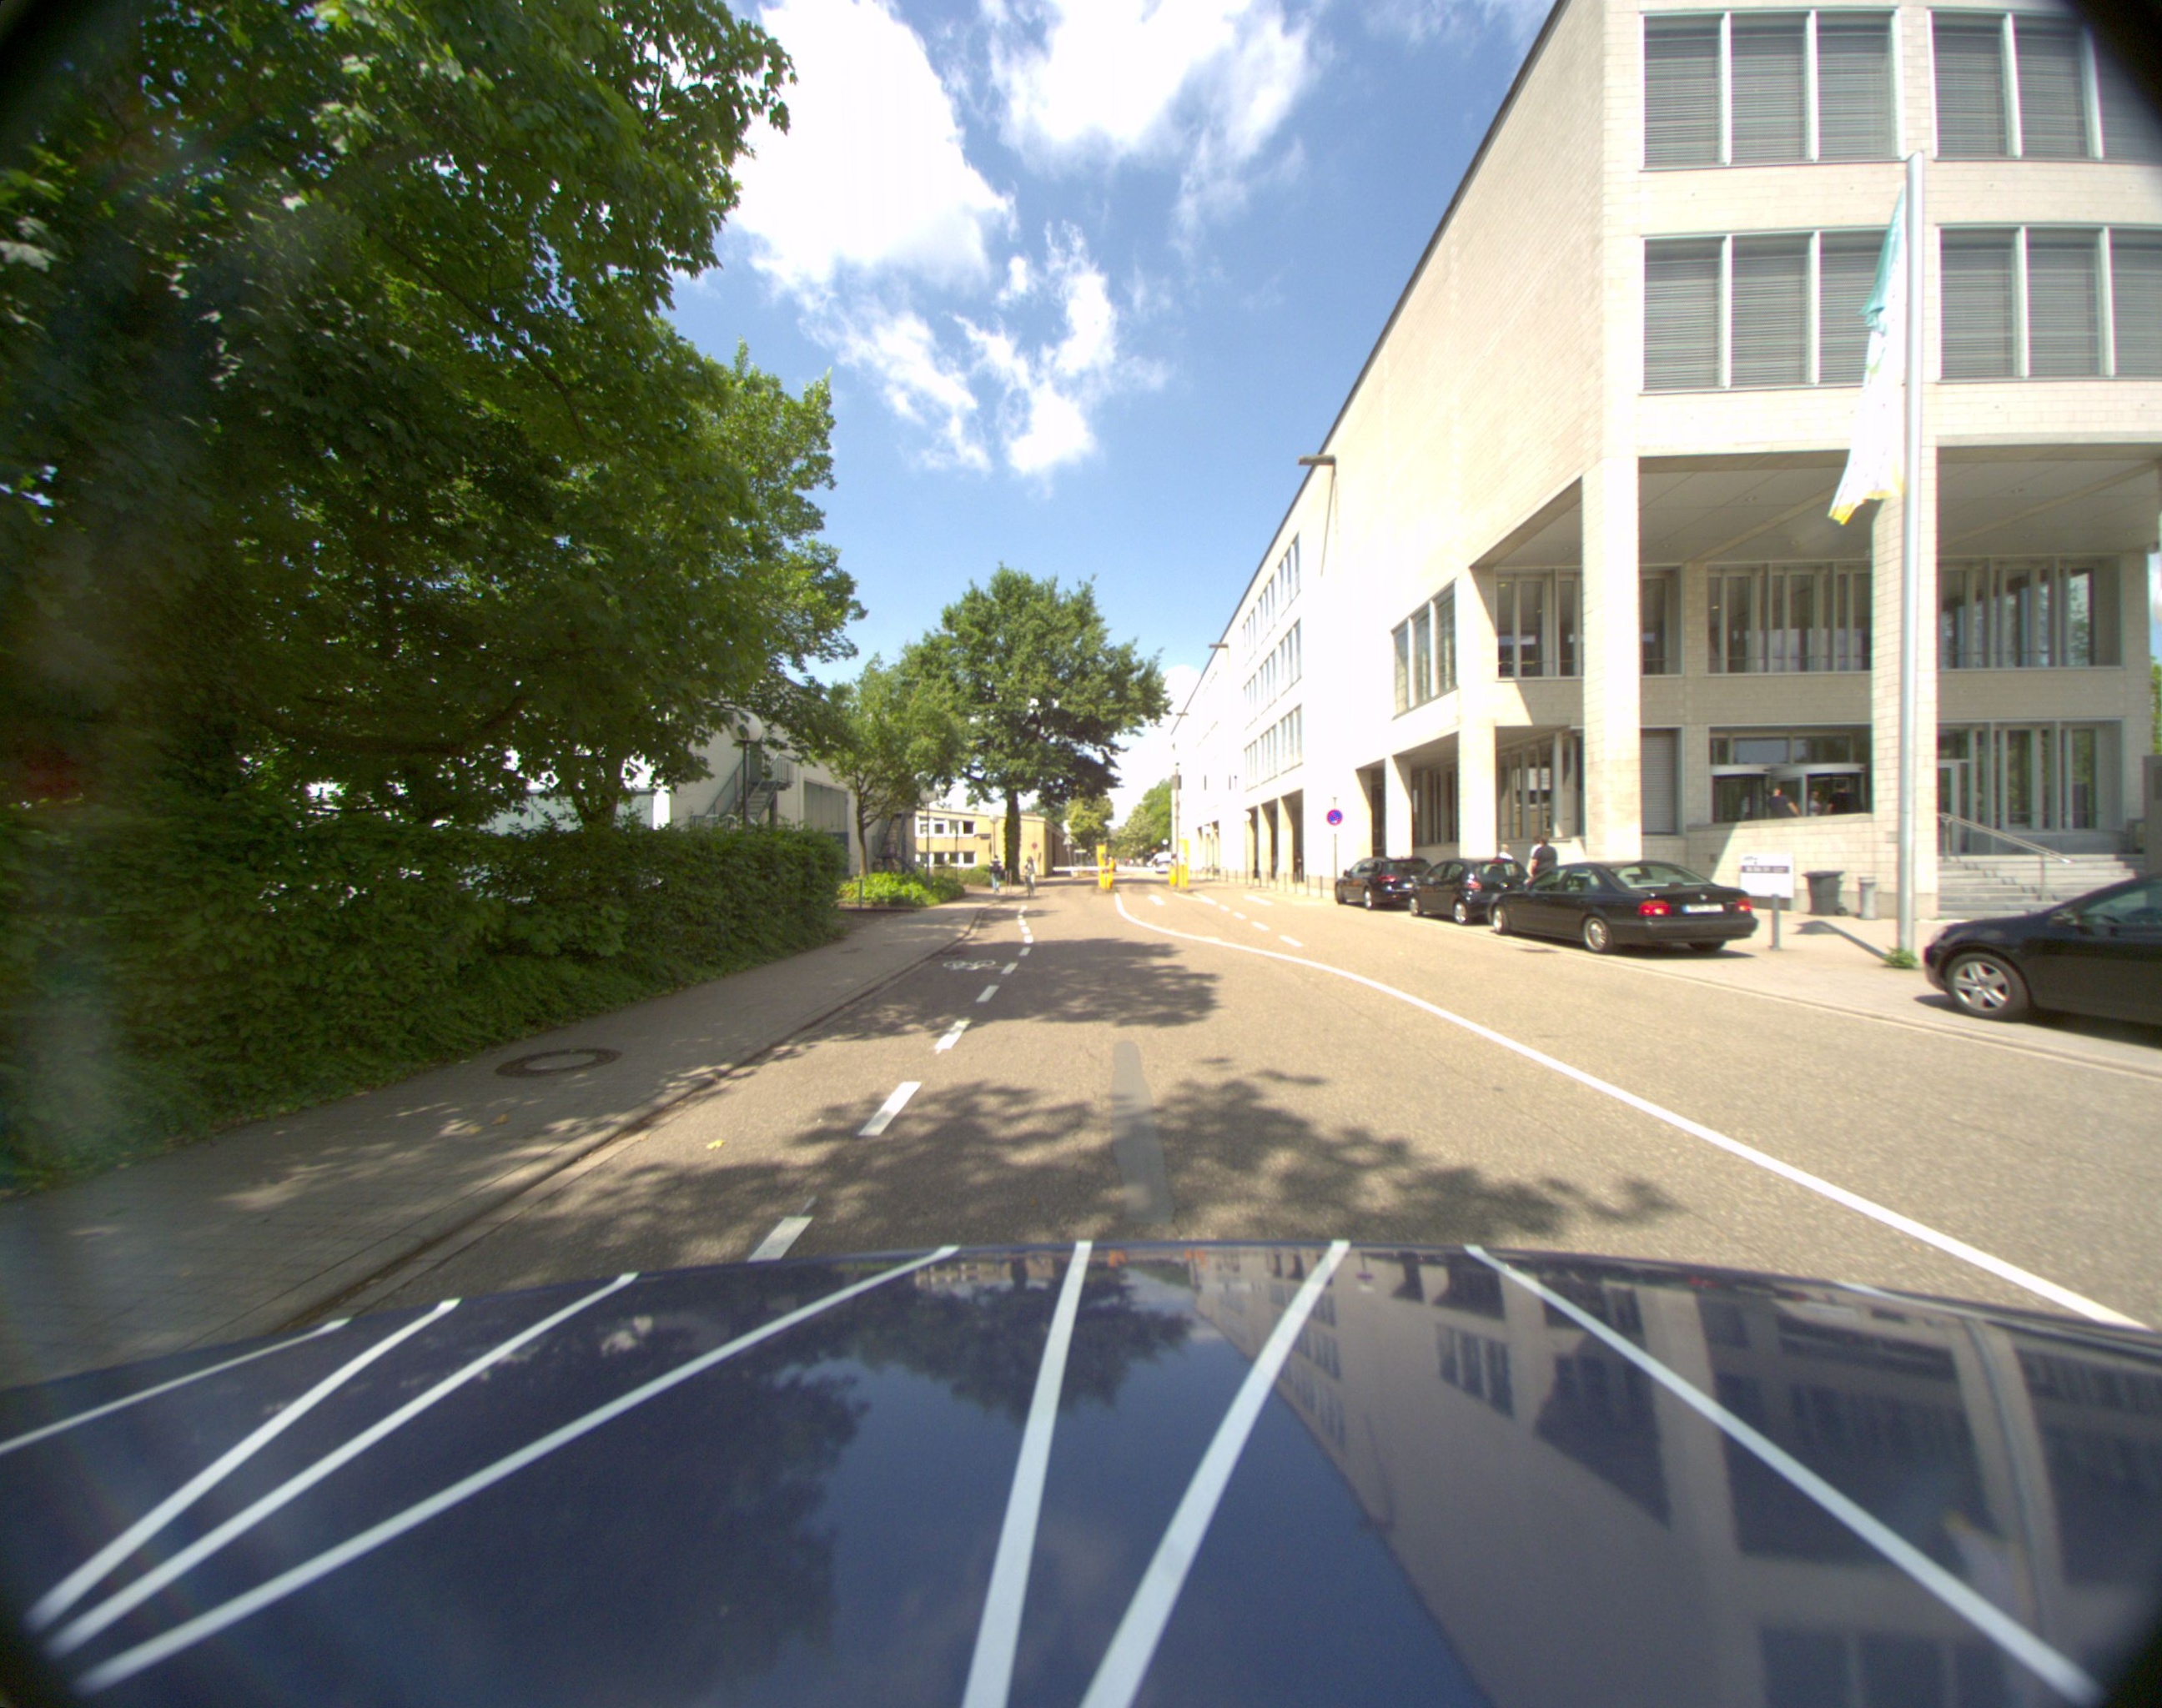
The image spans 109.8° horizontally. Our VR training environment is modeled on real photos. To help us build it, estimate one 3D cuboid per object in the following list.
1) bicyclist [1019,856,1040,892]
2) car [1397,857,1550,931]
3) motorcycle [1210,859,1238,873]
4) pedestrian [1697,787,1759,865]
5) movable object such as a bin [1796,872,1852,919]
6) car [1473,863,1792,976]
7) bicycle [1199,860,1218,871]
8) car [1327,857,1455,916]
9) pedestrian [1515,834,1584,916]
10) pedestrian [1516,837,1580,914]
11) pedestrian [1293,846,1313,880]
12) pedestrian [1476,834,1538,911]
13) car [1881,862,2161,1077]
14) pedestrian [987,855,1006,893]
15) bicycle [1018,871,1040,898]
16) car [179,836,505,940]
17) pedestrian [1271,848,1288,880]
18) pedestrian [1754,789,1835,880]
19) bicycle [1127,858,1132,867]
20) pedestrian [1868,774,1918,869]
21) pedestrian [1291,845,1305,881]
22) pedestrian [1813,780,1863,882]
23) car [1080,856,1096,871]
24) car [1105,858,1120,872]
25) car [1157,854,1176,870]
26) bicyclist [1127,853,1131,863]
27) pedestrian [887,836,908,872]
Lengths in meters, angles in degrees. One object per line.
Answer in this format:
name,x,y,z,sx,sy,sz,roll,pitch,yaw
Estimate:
bicyclist,-2.111,0.816,31.182,0.781,1.478,0.696,0,0,0
car,8.899,0.844,17.588,1.642,1.458,3.707,-3,0,2
motorcycle,12.069,1.023,64.316,2.172,1.131,0.774,0,0,-8
pedestrian,17.048,-0.726,20.044,0.746,2.002,0.979,-1,1,-19
movable object such as a bin,15.318,0.856,15.679,0.577,0.925,0.595,-1,1,2
car,8.632,0.908,12.632,1.863,1.370,5.017,-3,0,3
bicycle,12.321,1.094,73.480,1.643,1.080,0.608,-1,0,-4
car,8.820,0.860,22.085,1.864,1.458,4.719,-3,0,2
pedestrian,11.809,0.515,19.189,0.987,2.002,1.164,-1,0,-2
pedestrian,12.592,0.575,20.528,0.987,2.002,1.164,-1,0,-2
pedestrian,12.986,0.527,44.509,0.850,2.002,1.066,0,0,0
pedestrian,11.459,0.476,20.464,0.987,2.002,1.164,-1,0,-2
car,8.697,0.850,5.383,1.752,1.458,4.197,-3,0,3
pedestrian,-3.758,0.869,33.904,0.741,1.665,1.256,-1,0,-1
bicycle,-2.131,1.236,31.259,0.781,1.042,1.913,0,0,0
car,-15.157,0.674,15.790,4.836,2.002,2.062,0,0,2
pedestrian,12.518,0.604,47.929,0.858,2.002,0.881,-1,1,4
pedestrian,16.215,-0.428,17.295,0.980,2.002,0.910,-1,1,2
bicycle,8.692,1.541,137.116,0.797,1.485,2.062,-1,0,0
pedestrian,18.849,-0.726,17.649,0.703,2.133,0.806,-1,1,40
pedestrian,12.137,0.493,42.536,0.544,2.002,0.835,-1,1,4
pedestrian,18.288,-0.537,18.351,0.739,2.408,0.758,-1,1,-37
car,0.790,1.050,84.151,1.760,1.559,3.818,1,0,1
car,4.427,1.520,105.800,1.998,1.805,4.001,0,0,3
car,9.283,0.835,82.743,1.730,1.526,4.406,-3,0,2
bicyclist,8.650,0.640,136.967,0.761,1.766,0.733,-1,1,0
pedestrian,-10.536,0.007,43.587,0.929,2.002,0.950,0,0,5
